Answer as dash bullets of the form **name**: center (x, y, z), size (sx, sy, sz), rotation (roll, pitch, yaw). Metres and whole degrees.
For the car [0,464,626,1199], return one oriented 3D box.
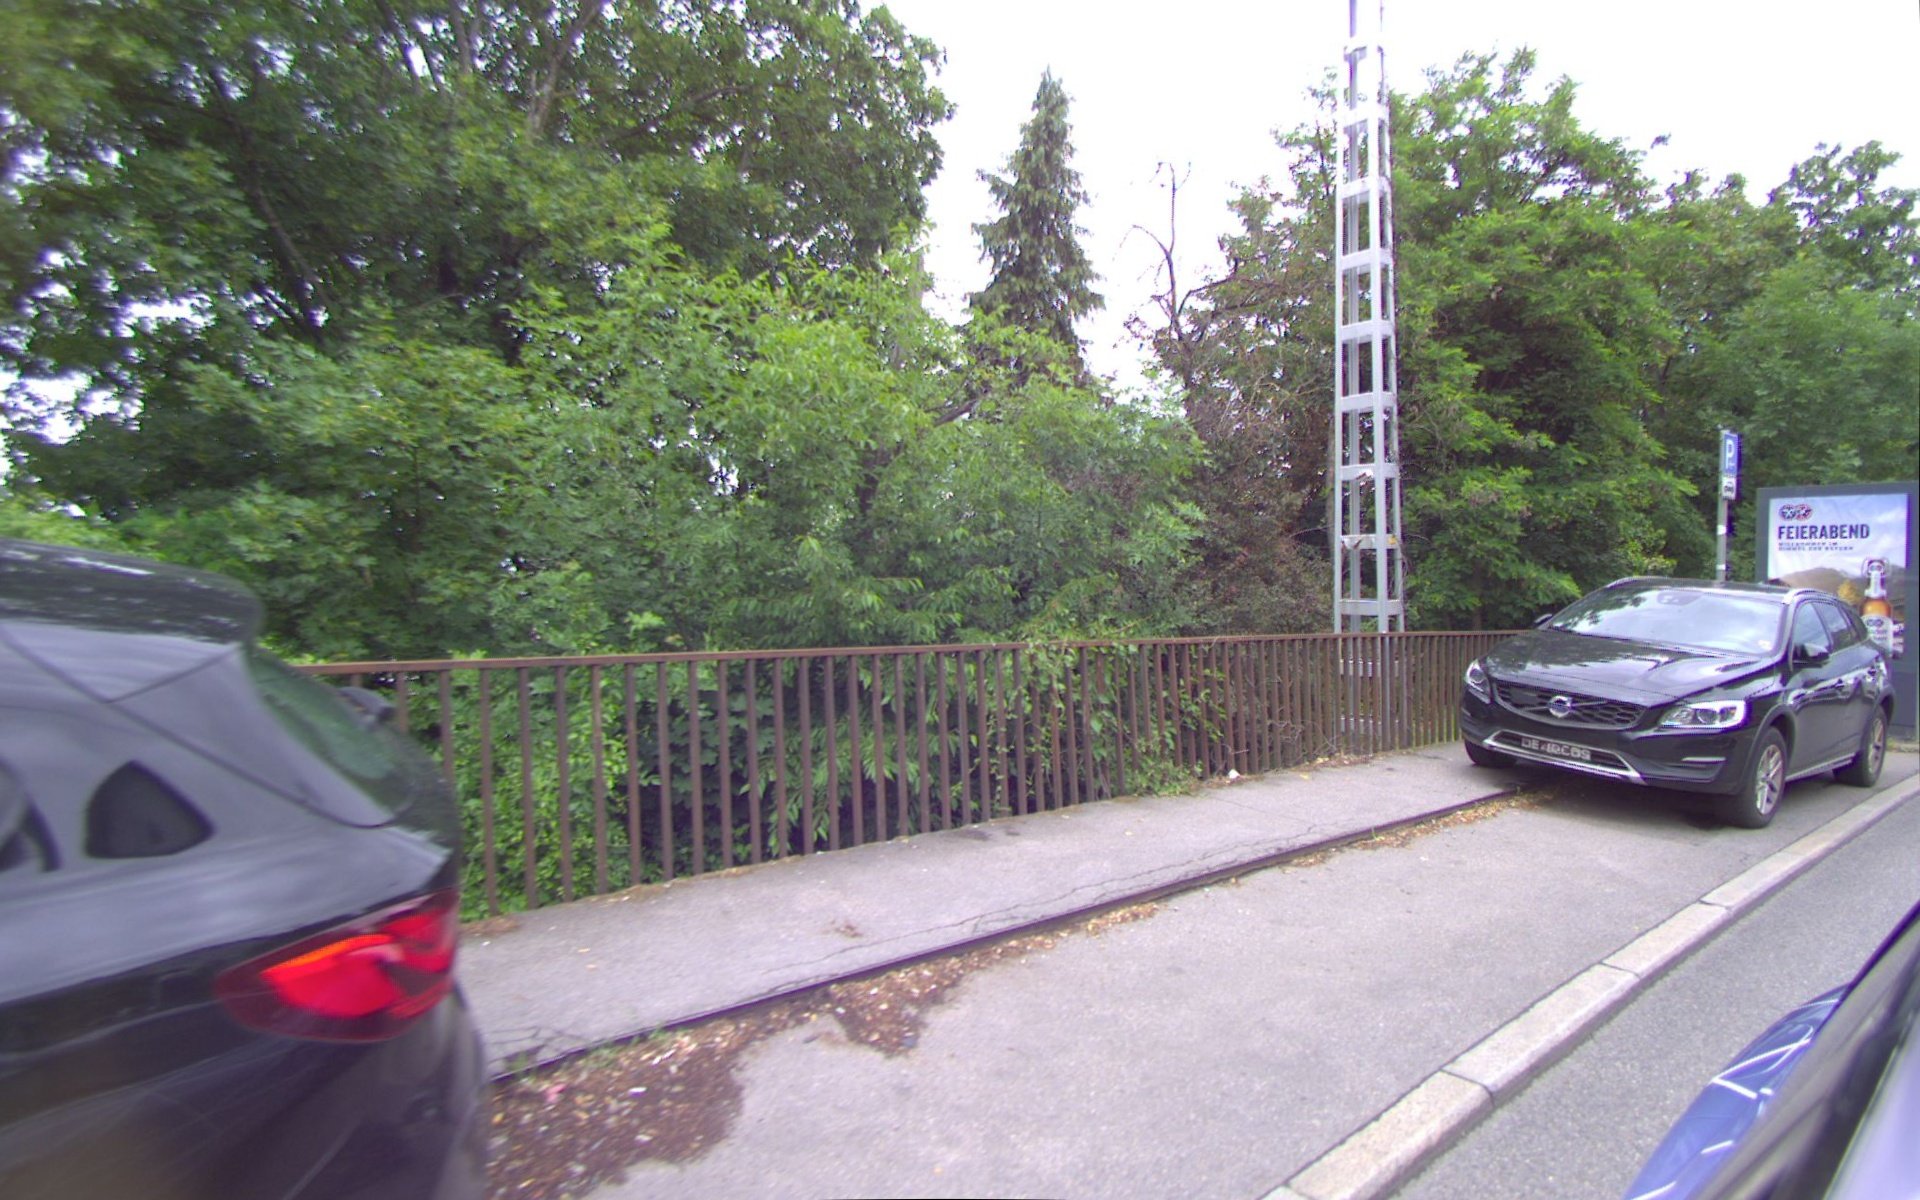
- **car**: center (-2.627, 0.534, 0.712), size (4.123, 1.480, 1.811), rotation (0, 6, -43)

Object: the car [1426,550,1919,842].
- **car**: center (5.581, 0.527, 7.666), size (4.311, 1.539, 1.772), rotation (1, 5, -37)
